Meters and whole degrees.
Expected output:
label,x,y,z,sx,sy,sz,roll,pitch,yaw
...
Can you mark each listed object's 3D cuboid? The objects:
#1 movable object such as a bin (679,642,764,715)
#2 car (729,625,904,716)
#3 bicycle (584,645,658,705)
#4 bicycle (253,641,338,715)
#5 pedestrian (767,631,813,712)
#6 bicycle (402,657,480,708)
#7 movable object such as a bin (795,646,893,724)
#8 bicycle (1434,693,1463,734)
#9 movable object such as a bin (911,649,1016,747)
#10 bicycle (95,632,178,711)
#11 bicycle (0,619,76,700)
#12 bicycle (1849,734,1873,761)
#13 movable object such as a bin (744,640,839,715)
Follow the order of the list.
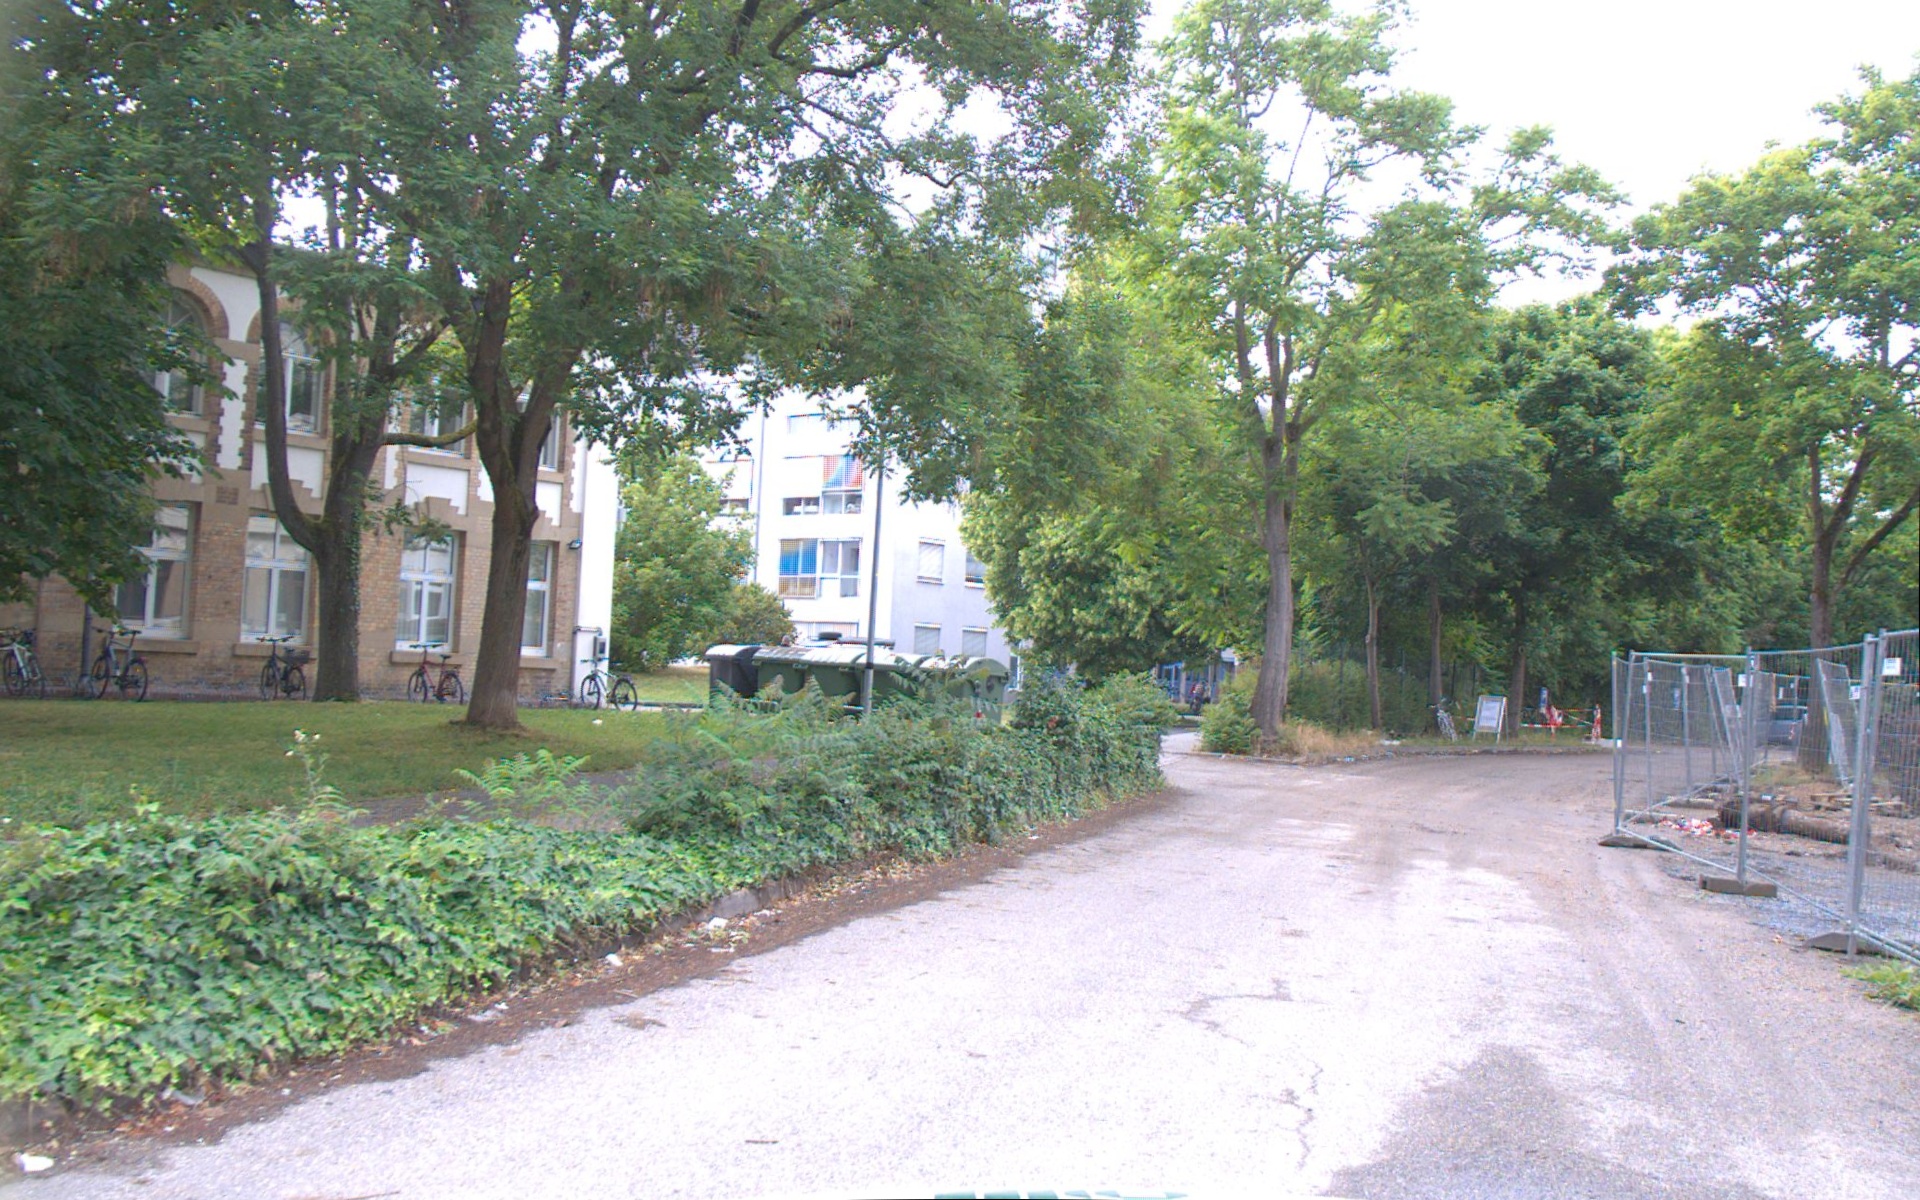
label,x,y,z,sx,sy,sz,roll,pitch,yaw
movable object such as a bin,-4.466,1.469,30.977,1.043,1.287,1.338,4,-3,-34
car,-3.502,1.782,41.201,1.819,2.049,4.330,0,-4,38
bicycle,-6.712,1.470,32.698,1.795,1.084,0.393,1,-3,42
bicycle,-11.165,1.295,27.749,0.613,1.139,2.189,5,-3,-40
pedestrian,-3.918,1.648,38.106,0.685,1.841,0.752,-1,-5,39
bicycle,-9.373,1.485,29.810,0.613,0.828,1.916,5,-3,-40
movable object such as a bin,-2.047,1.500,29.224,1.328,1.287,1.051,1,-3,38
bicycle,11.318,2.629,38.312,0.410,0.921,1.152,2,-3,26
movable object such as a bin,0.056,1.609,27.249,1.045,1.475,1.336,5,-2,-38
bicycle,-12.874,1.104,25.825,0.613,1.139,2.189,5,-3,-40
bicycle,-13.940,0.877,24.885,0.613,1.139,2.189,5,-3,-40
bicycle,36.852,6.022,67.631,0.757,0.995,2.027,2,-3,31
movable object such as a bin,-3.091,1.414,30.299,1.326,1.287,1.052,1,-3,34
